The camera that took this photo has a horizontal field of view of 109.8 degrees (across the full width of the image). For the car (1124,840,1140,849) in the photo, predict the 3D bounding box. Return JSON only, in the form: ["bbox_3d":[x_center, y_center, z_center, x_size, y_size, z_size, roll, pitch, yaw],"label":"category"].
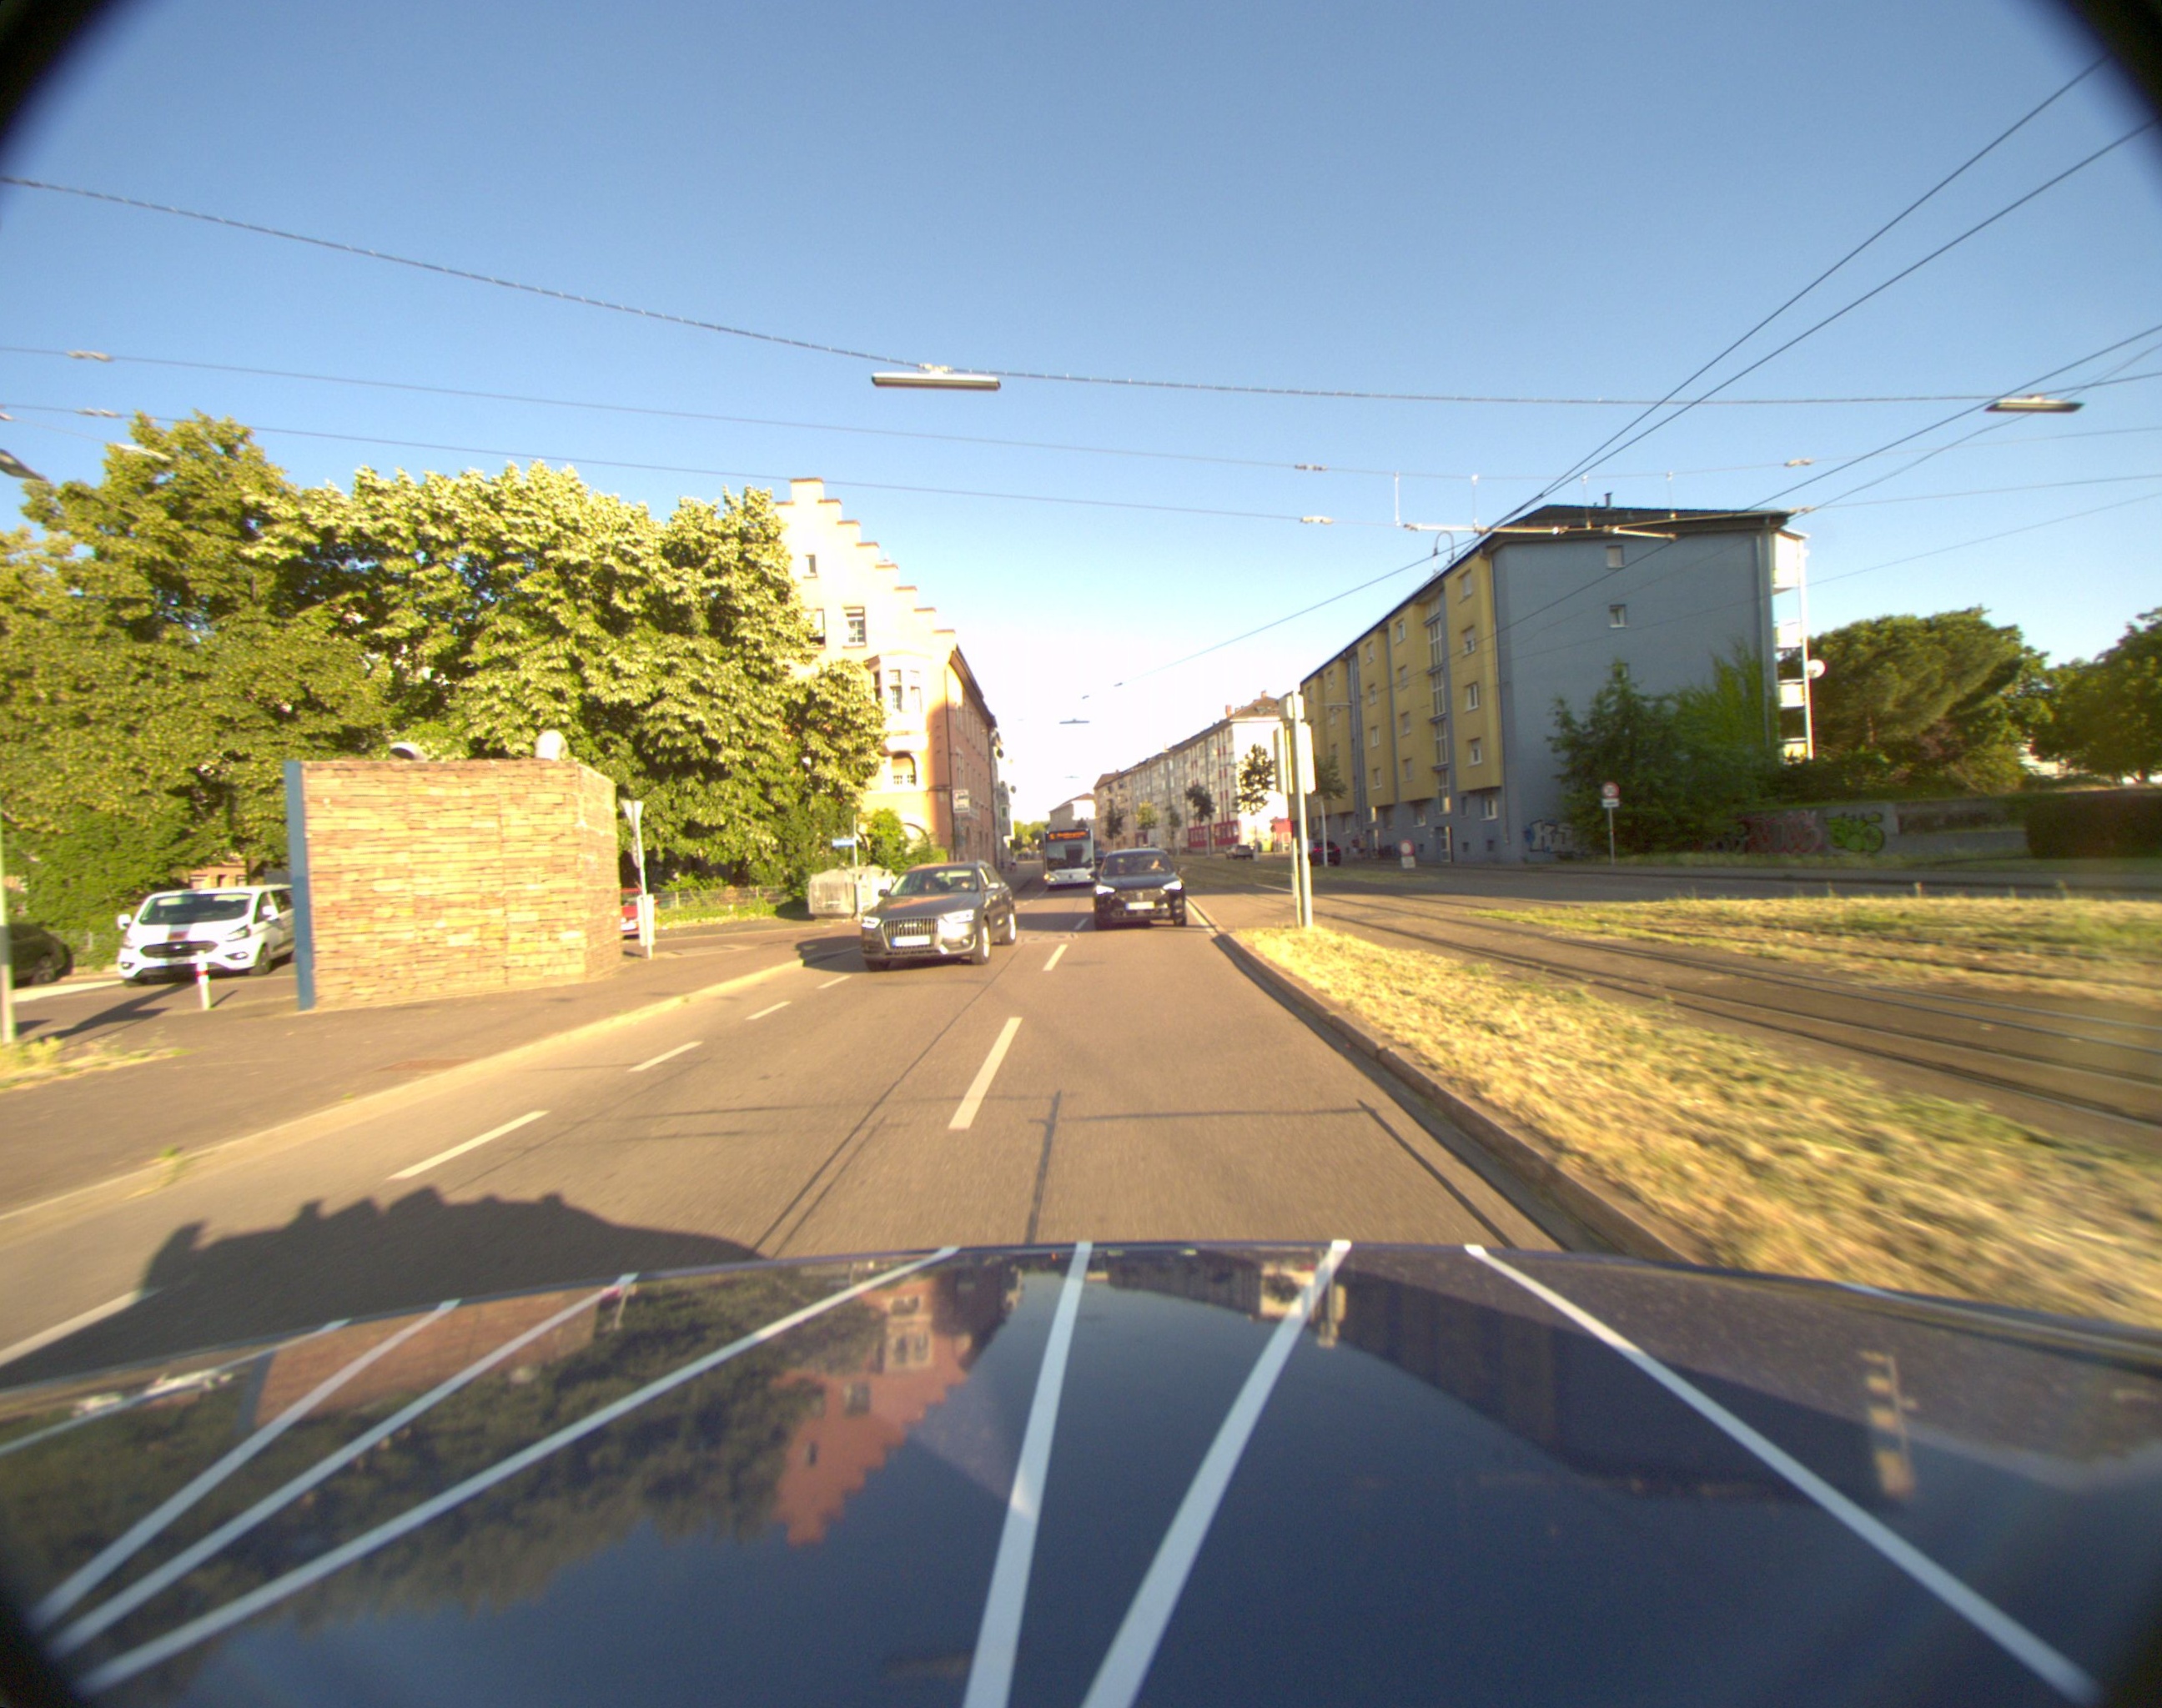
[{"bbox_3d":[8.455,-1.586,126.311,1.798,1.461,4.792,-1,1,-5],"label":"car"}]

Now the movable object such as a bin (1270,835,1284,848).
[{"bbox_3d":[23.098,-1.486,89.343,1.220,1.408,1.107,-3,1,-6],"label":"movable object such as a bin"}]

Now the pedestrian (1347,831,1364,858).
[{"bbox_3d":[18.965,-0.661,52.470,0.594,1.763,0.885,-7,1,-2],"label":"pedestrian"}]

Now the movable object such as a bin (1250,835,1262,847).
[{"bbox_3d":[20.962,-1.561,90.828,1.161,1.279,0.805,-3,1,-6],"label":"movable object such as a bin"}]

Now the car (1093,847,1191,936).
[{"bbox_3d":[1.223,0.706,16.624,1.788,1.615,4.216,-3,0,2],"label":"car"}]

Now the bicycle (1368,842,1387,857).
[{"bbox_3d":[20.045,-0.321,51.395,0.428,0.920,1.911,-6,1,-1],"label":"bicycle"}]

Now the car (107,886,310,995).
[{"bbox_3d":[-19.634,1.806,17.393,1.930,1.967,4.737,-3,1,-36],"label":"car"}]

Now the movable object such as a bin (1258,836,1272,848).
[{"bbox_3d":[21.636,-1.413,89.176,1.220,1.408,1.137,-3,1,-6],"label":"movable object such as a bin"}]

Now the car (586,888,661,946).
[{"bbox_3d":[-13.090,1.728,21.676,1.633,1.349,3.437,-3,1,-33],"label":"car"}]

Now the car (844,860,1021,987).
[{"bbox_3d":[-2.206,0.977,12.472,1.770,1.578,4.069,-4,0,4],"label":"car"}]

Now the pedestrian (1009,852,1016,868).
[{"bbox_3d":[-5.906,0.531,65.738,0.515,1.337,0.609,-2,2,-6],"label":"pedestrian"}]

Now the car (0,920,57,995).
[{"bbox_3d":[-23.120,2.238,15.258,1.753,1.458,4.214,-4,1,-36],"label":"car"}]

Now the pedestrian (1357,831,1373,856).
[{"bbox_3d":[19.706,-0.735,52.762,0.618,1.685,0.706,-8,1,-2],"label":"pedestrian"}]

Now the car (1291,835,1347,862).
[{"bbox_3d":[15.463,-0.339,49.675,1.923,1.652,4.707,-2,0,-3],"label":"car"}]

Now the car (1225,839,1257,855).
[{"bbox_3d":[14.627,-0.651,69.661,1.702,1.451,4.313,-1,1,-4],"label":"car"}]

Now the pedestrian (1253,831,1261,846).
[{"bbox_3d":[19.610,-1.735,84.689,0.615,1.679,0.791,-4,1,-7],"label":"pedestrian"}]

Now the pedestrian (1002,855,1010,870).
[{"bbox_3d":[-6.453,0.698,65.096,0.589,1.244,0.584,-2,1,-2],"label":"pedestrian"}]

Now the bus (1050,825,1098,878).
[{"bbox_3d":[-0.454,-0.191,52.266,2.712,3.059,10.598,-5,1,0],"label":"bus"}]

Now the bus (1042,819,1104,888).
[{"bbox_3d":[-0.396,-0.079,41.636,2.731,3.059,10.598,-5,1,0],"label":"bus"}]

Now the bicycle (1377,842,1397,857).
[{"bbox_3d":[20.216,-0.330,50.185,0.428,0.920,1.911,-6,1,-1],"label":"bicycle"}]

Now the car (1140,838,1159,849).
[{"bbox_3d":[11.430,-1.738,126.998,1.873,1.818,4.417,-3,0,-10],"label":"car"}]

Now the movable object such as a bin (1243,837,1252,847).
[{"bbox_3d":[19.869,-1.438,90.649,0.869,1.219,0.805,-3,1,-6],"label":"movable object such as a bin"}]

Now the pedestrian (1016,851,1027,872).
[{"bbox_3d":[-5.125,0.601,65.115,0.832,1.761,0.995,-2,1,-2],"label":"pedestrian"}]

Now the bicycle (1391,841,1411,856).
[{"bbox_3d":[20.303,-0.365,48.249,0.428,0.954,1.911,-3,1,-1],"label":"bicycle"}]
